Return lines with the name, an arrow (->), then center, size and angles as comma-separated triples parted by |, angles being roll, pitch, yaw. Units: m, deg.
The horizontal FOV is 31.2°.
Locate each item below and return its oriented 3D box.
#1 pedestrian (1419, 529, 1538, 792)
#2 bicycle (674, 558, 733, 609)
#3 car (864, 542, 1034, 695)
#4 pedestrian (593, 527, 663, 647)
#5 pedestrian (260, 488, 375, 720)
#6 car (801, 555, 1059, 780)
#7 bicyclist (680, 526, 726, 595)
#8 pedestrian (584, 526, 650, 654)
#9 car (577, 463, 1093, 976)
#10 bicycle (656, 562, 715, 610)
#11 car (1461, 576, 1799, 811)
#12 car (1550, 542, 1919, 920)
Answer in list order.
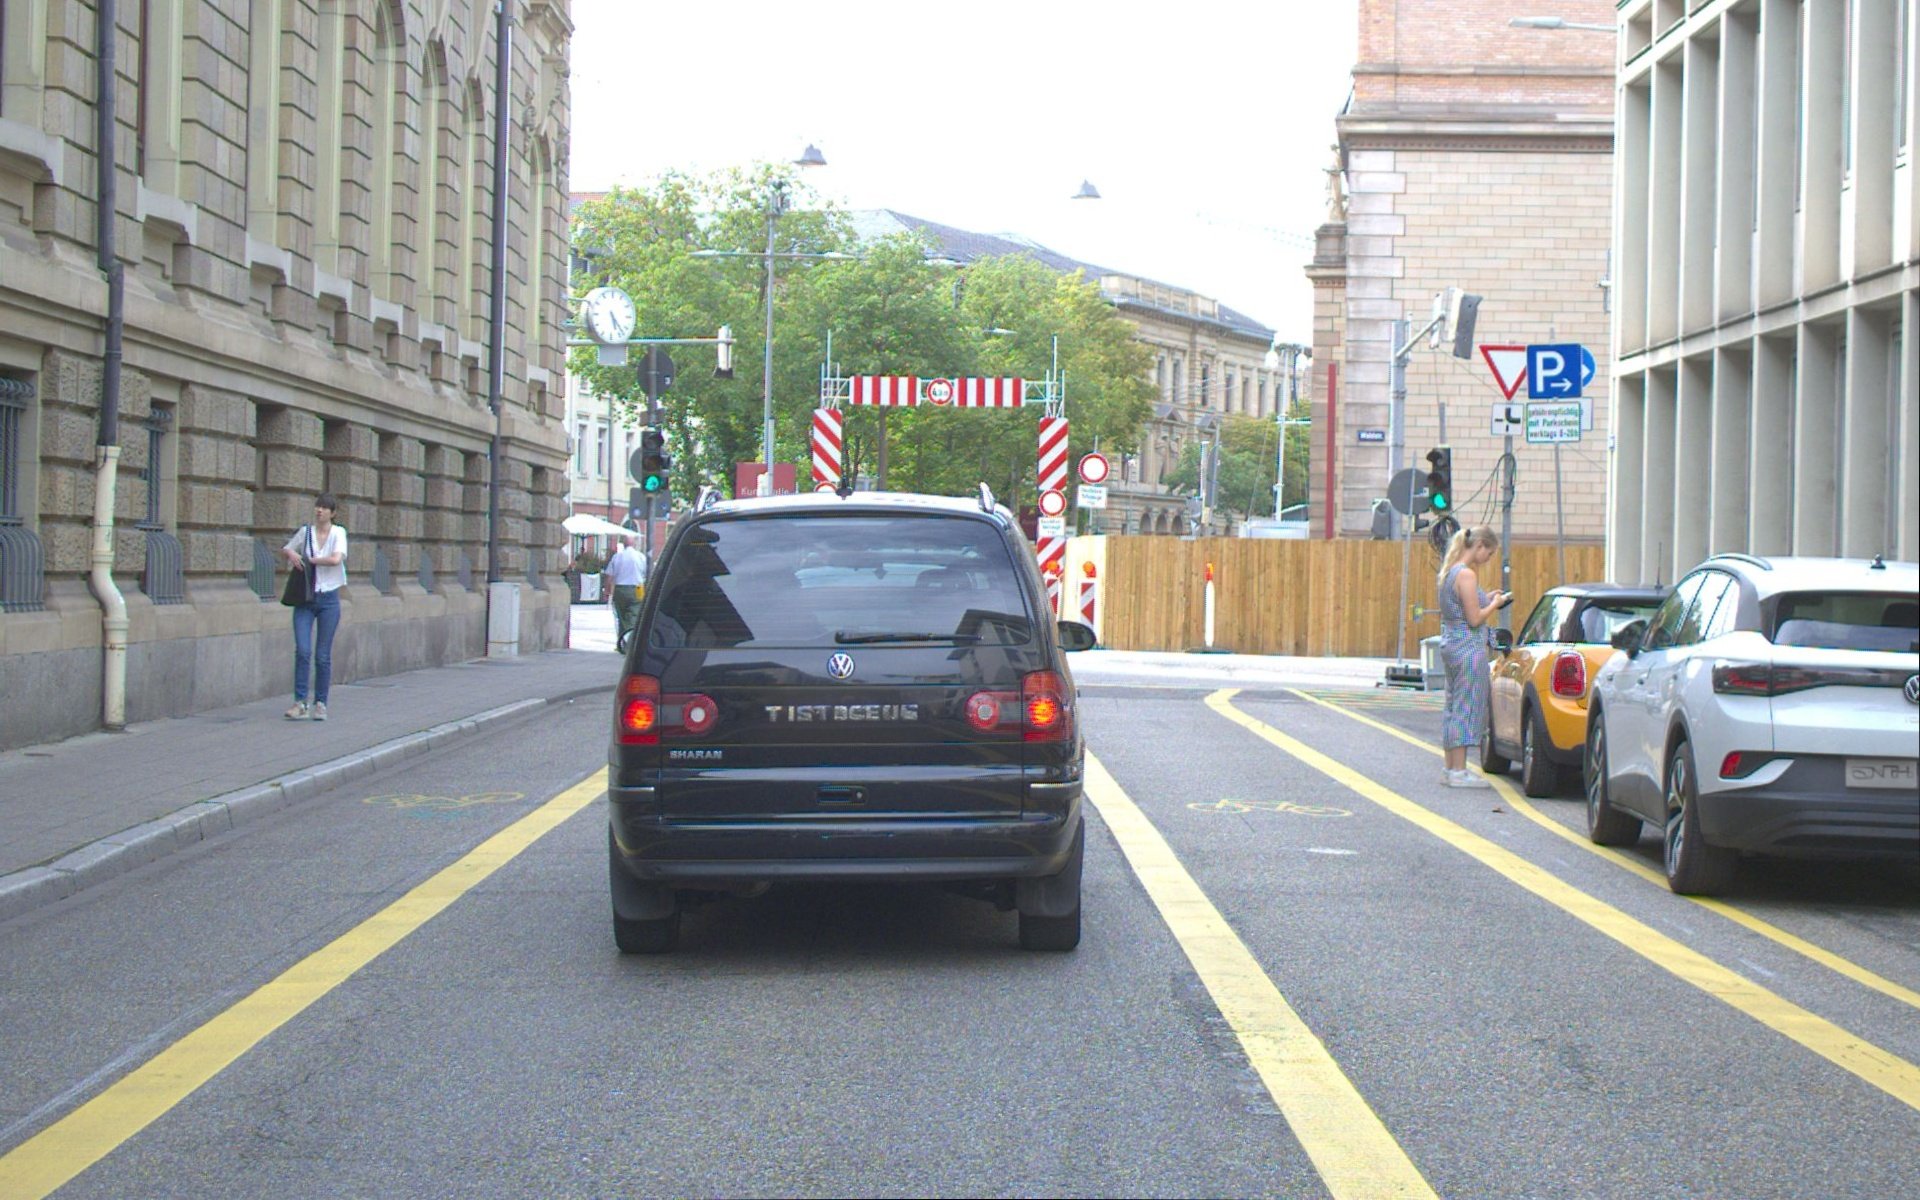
pedestrian -> 3.539, 0.405, 23.489 | 0.698, 1.758, 0.706 | 1, 0, 2
bicycle -> -5.199, -0.344, 69.586 | 0.735, 1.005, 2.069 | 1, 0, -18
car -> -0.138, 0.184, 38.230 | 1.773, 1.580, 4.000 | 1, 0, -1
pedestrian -> -5.158, -0.202, 53.337 | 0.792, 1.813, 1.048 | 3, 0, -18
pedestrian -> -5.204, 0.030, 27.887 | 0.664, 1.813, 1.048 | 3, 0, -1
car -> -0.142, 0.442, 25.124 | 1.678, 1.464, 4.103 | 1, 0, 2
bicyclist -> -5.201, -0.798, 69.620 | 0.735, 1.372, 0.829 | 1, 0, -17
pedestrian -> -5.004, -0.144, 50.216 | 0.792, 1.813, 1.048 | 3, 0, -1
car -> -0.360, 0.406, 14.022 | 1.790, 1.784, 4.103 | 0, 0, 2
bicycle -> -5.850, -0.305, 73.245 | 0.735, 1.005, 2.069 | 1, 0, -19
car -> 4.593, 0.590, 24.063 | 1.680, 1.430, 3.886 | 3, 0, 2
car -> 4.279, 0.597, 17.425 | 1.860, 1.599, 4.512 | 4, 0, 2
